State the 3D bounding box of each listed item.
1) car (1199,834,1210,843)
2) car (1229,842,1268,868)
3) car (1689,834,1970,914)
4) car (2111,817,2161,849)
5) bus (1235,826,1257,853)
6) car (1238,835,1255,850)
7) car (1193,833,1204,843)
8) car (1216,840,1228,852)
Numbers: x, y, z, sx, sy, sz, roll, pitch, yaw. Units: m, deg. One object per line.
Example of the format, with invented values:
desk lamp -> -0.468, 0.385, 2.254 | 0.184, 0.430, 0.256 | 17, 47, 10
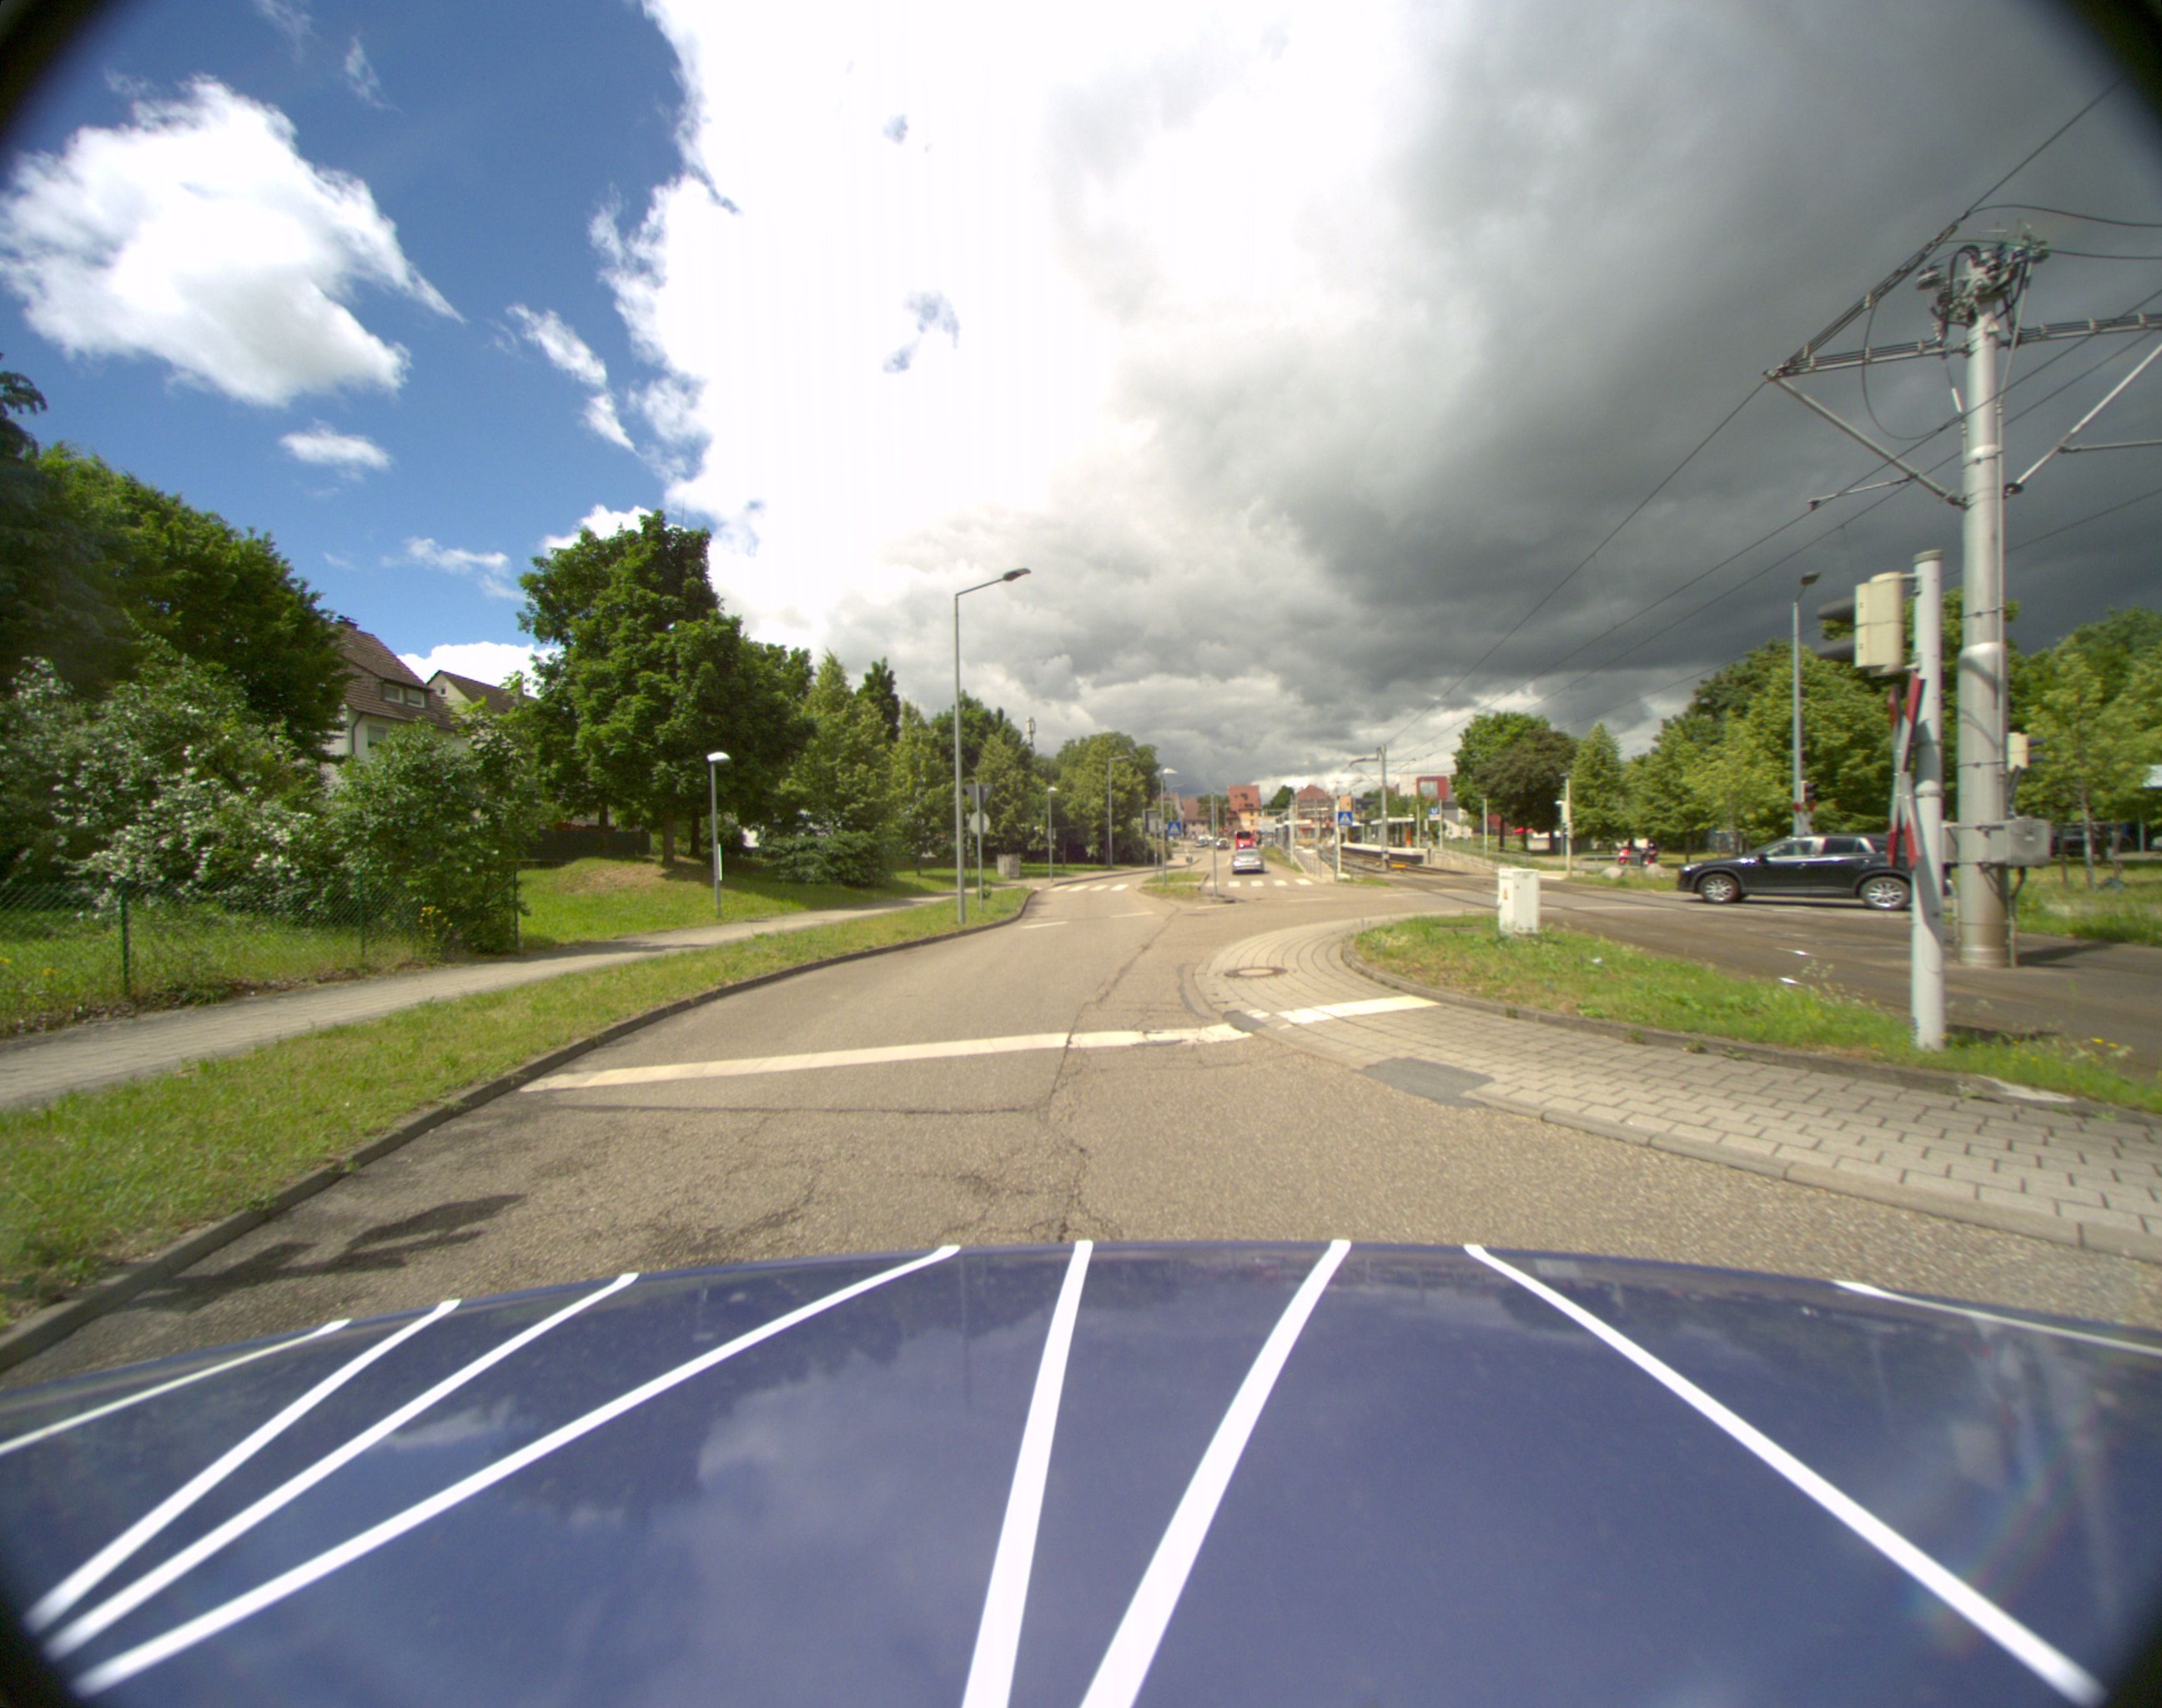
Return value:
car -> 25.967, -3.185, 159.843 | 1.997, 1.849, 4.003 | -1, 1, 12
car -> 9.946, 0.026, 44.816 | 1.937, 1.374, 4.665 | -2, 1, 16
car -> 16.769, 0.367, 17.244 | 1.863, 1.576, 4.313 | -1, 1, -38
car -> 55.882, -1.098, 38.707 | 1.592, 1.630, 3.904 | -2, 1, 1
bus -> 25.488, -2.209, 117.247 | 2.920, 3.864, 10.388 | -1, 1, 14
car -> 17.752, -1.236, 81.483 | 1.736, 1.501, 3.517 | -2, 1, 13
car -> 24.016, -3.232, 155.008 | 1.997, 1.849, 4.003 | -1, 1, 12
car -> 23.200, -1.336, 124.980 | 1.848, 1.916, 3.780 | -1, 1, 12
